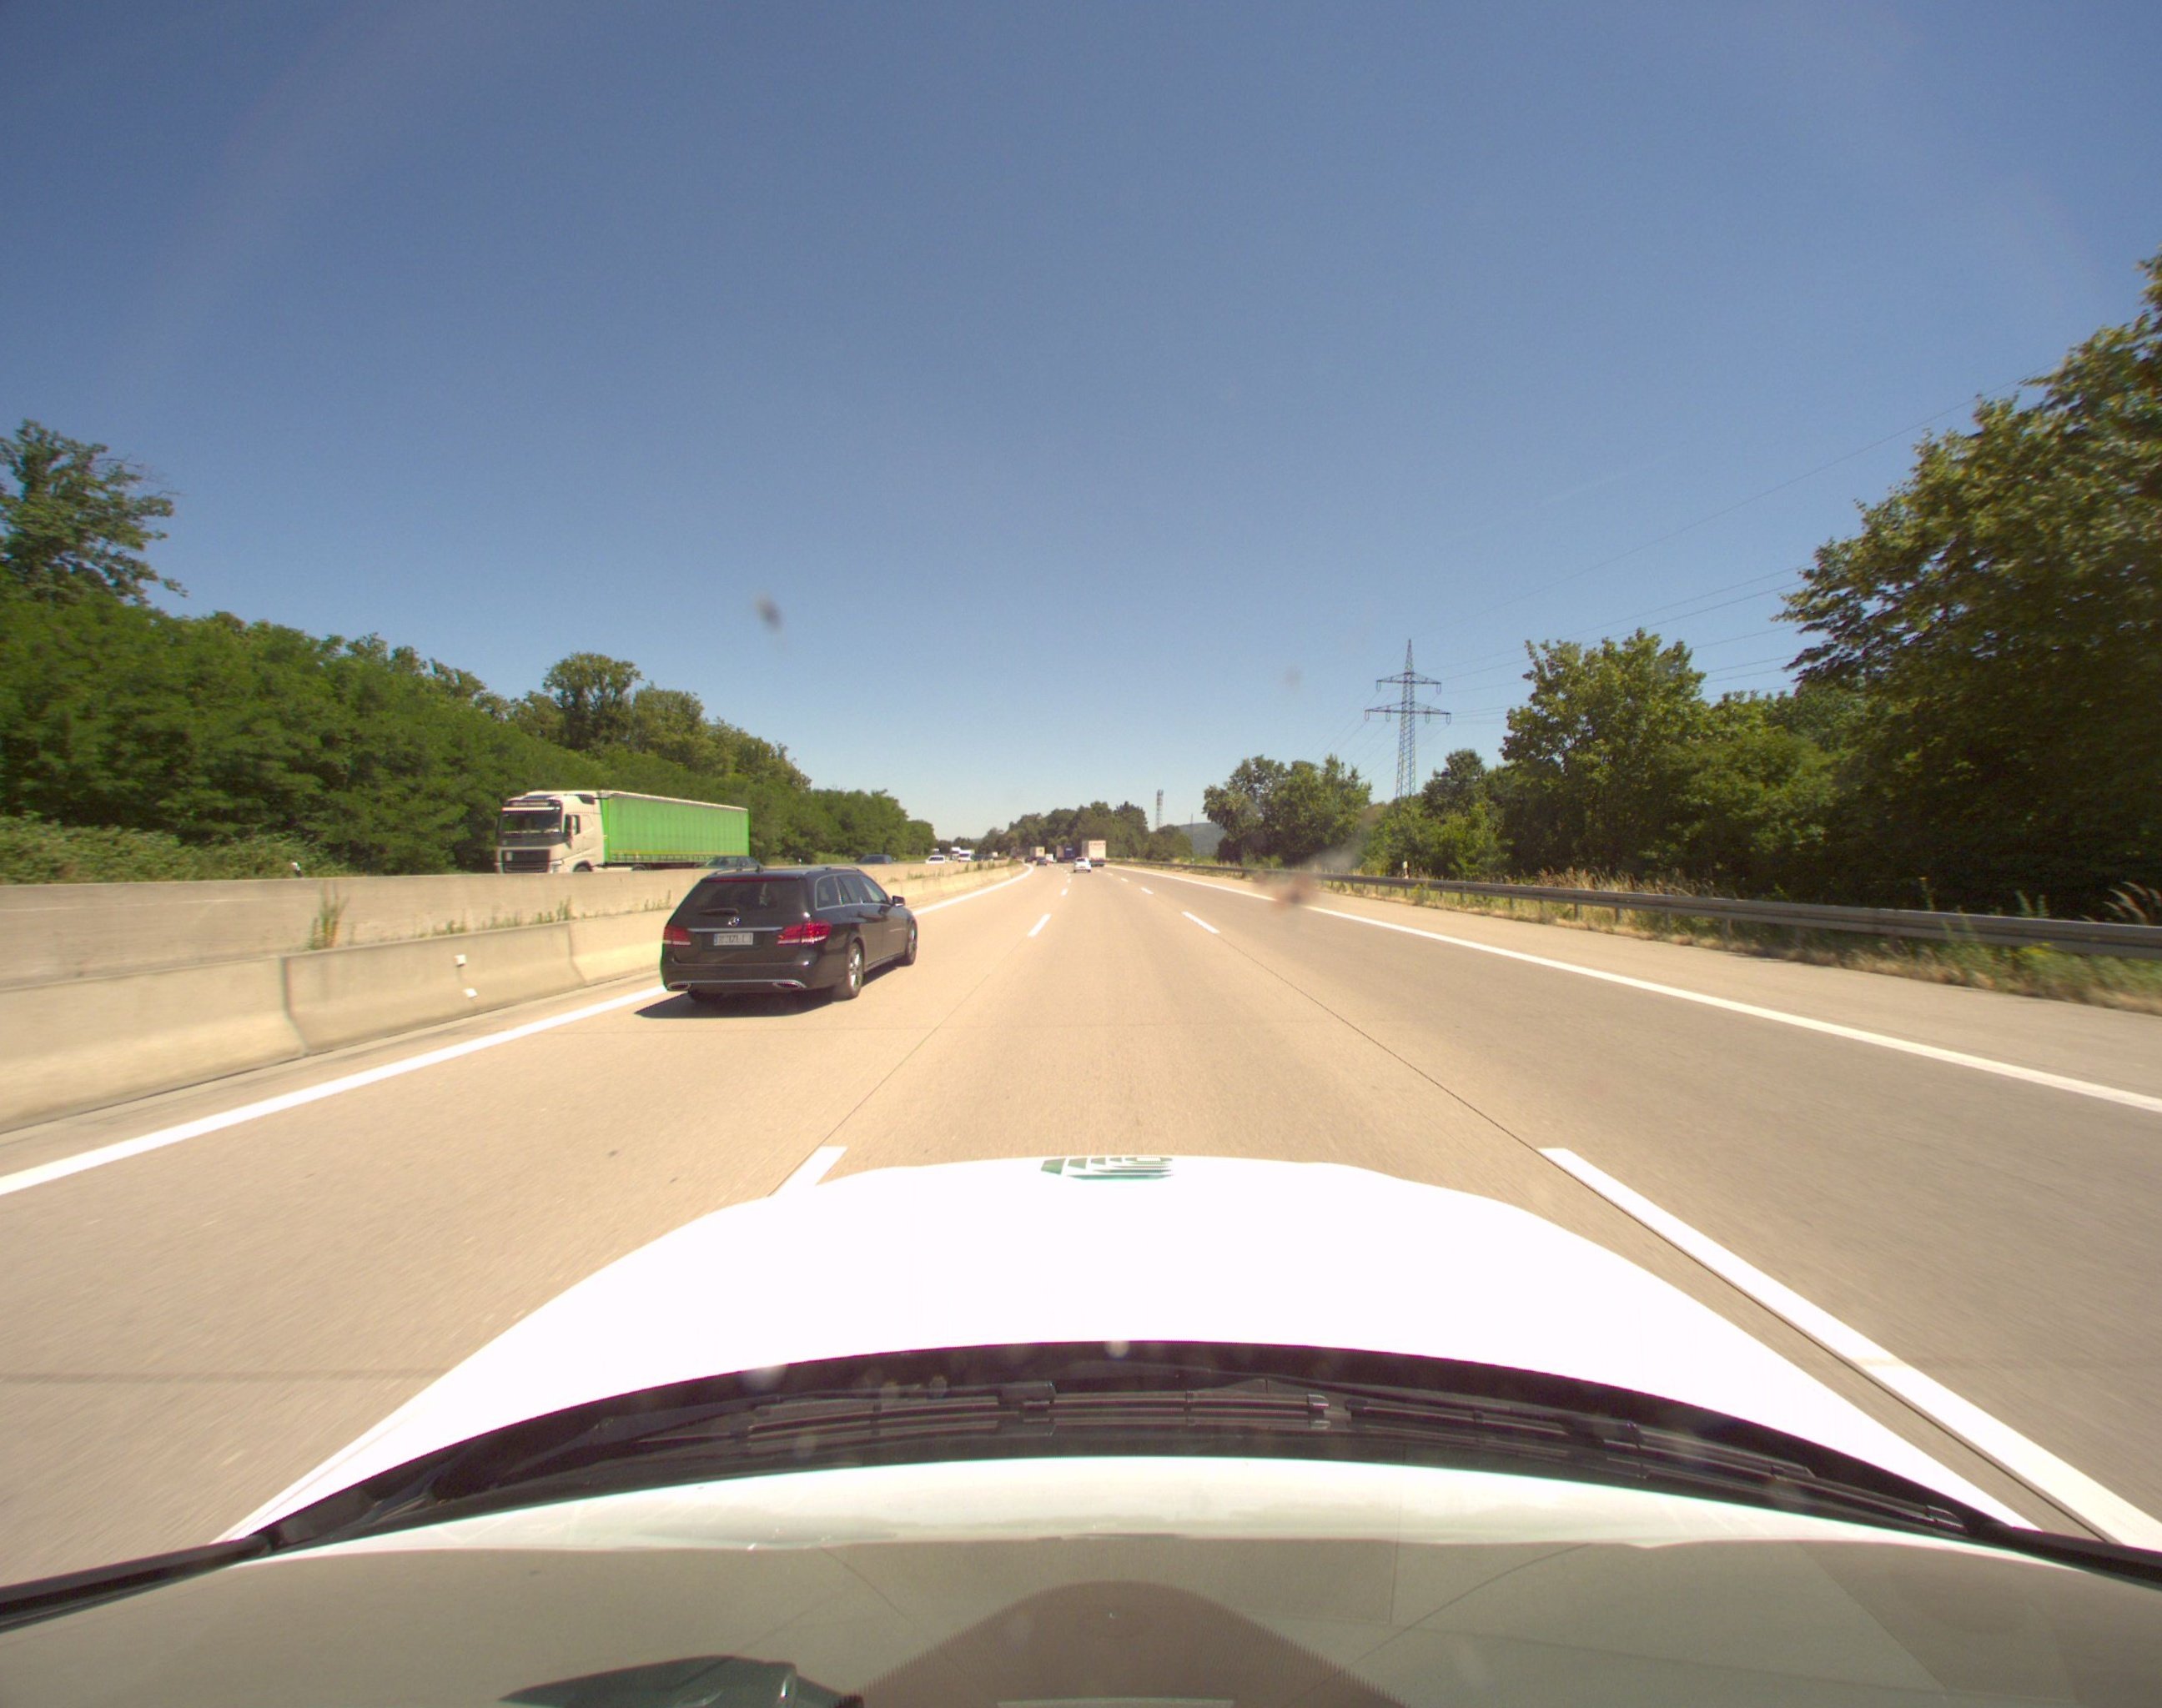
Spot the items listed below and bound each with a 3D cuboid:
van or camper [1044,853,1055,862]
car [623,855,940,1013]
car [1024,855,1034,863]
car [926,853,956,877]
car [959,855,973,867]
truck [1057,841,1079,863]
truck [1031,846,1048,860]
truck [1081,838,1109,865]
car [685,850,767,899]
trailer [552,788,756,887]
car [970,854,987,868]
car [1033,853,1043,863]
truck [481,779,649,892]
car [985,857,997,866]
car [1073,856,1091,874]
[{"bbox_3d":[-7.003,0.799,181.379,1.867,1.838,3.987,-1,0,-9],"label":"van or camper"},{"bbox_3d":[-3.353,0.771,10.602,1.884,1.473,5.606,-1,0,2],"label":"car"},{"bbox_3d":[-12.008,1.169,188.094,2.020,1.700,3.991,4,0,-7],"label":"car"},{"bbox_3d":[-12.346,0.975,71.958,1.856,2.014,4.000,-1,0,0],"label":"car"},{"bbox_3d":[-19.477,1.221,138.013,1.933,1.959,3.997,-1,0,-1],"label":"car"},{"bbox_3d":[-3.010,-0.338,185.920,3.902,4.741,14.021,-1,0,-6],"label":"truck"},{"bbox_3d":[-12.776,-0.277,248.112,3.894,3.983,13.583,-1,0,-8],"label":"truck"},{"bbox_3d":[2.111,-0.273,127.113,3.809,3.889,14.145,-1,0,-1],"label":"truck"},{"bbox_3d":[-15.732,0.879,36.304,1.856,2.014,4.000,-1,0,0],"label":"car"},{"bbox_3d":[-19.748,-0.638,39.226,2.673,3.935,13.245,-1,0,0],"label":"trailer"},{"bbox_3d":[-14.700,1.013,116.578,1.856,1.850,4.000,-1,0,0],"label":"car"},{"bbox_3d":[-7.702,0.654,145.518,1.608,1.725,3.566,-1,0,-5],"label":"car"},{"bbox_3d":[-19.796,-0.654,31.717,2.656,3.935,5.969,-1,0,0],"label":"truck"},{"bbox_3d":[-15.928,1.348,144.626,1.990,1.616,3.994,-1,0,-4],"label":"car"},{"bbox_3d":[0.077,1.069,83.194,1.636,1.662,3.359,3,1,-1],"label":"car"}]
